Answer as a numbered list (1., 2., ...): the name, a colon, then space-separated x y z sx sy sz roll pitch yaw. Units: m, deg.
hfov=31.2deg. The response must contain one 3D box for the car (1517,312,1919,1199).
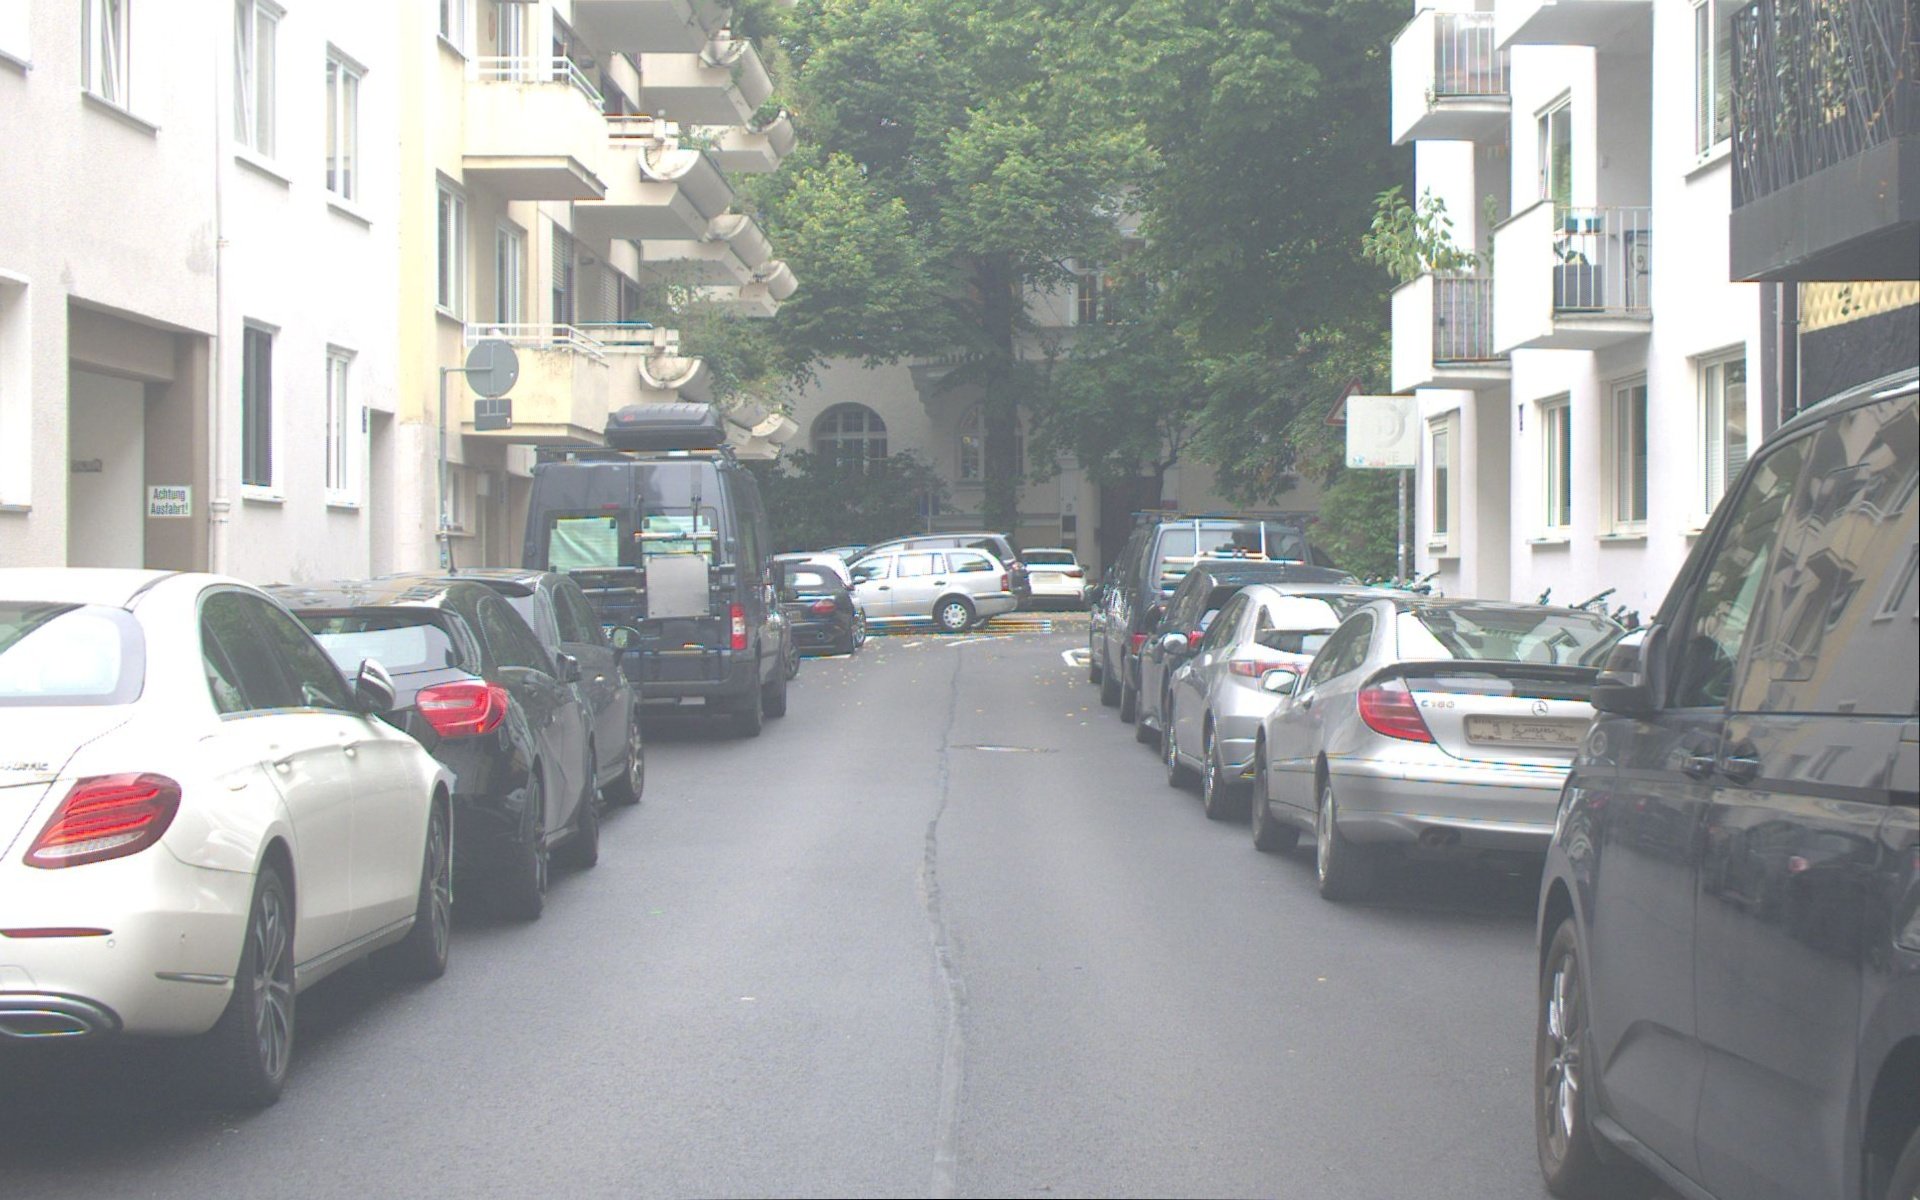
1. car: 2.344 0.523 6.410 1.829 1.903 4.416 2 1 0

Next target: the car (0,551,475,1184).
1. car: -2.730 0.633 10.438 1.777 1.482 4.519 -2 1 1

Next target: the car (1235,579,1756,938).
1. car: 2.535 0.685 17.339 1.829 1.449 4.416 3 1 0

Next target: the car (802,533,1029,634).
1. car: -0.786 -0.299 60.698 3.885 1.579 1.648 -3 1 -1

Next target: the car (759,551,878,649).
1. car: -2.138 -0.030 52.666 1.642 1.379 3.483 -3 1 0

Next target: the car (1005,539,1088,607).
1. car: 1.881 -0.609 75.546 1.642 1.379 3.746 -3 1 0

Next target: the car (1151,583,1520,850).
1. car: 2.344 0.679 22.548 1.829 1.449 4.416 3 1 0

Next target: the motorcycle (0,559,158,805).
1. motorcycle: -5.399 0.438 20.310 0.680 1.345 2.486 1 1 1

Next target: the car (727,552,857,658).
1. car: -2.354 0.040 48.820 1.642 1.379 3.483 -3 1 0

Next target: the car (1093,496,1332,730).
1. car: 2.347 0.087 32.966 1.829 1.992 4.416 3 1 0

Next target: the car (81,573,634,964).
1. car: -2.583 0.654 15.671 1.777 1.448 4.046 -3 1 0

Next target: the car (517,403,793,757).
1. car: -2.581 -0.192 30.162 1.936 2.792 4.533 -3 1 0

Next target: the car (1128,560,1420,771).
1. car: 2.424 0.459 27.562 1.829 1.449 4.416 3 1 0

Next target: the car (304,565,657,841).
1. car: -2.802 0.554 20.675 1.642 1.448 3.162 -3 1 0

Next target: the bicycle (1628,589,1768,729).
1. bicycle: 5.200 0.395 24.308 0.507 0.902 2.041 -1 1 -1

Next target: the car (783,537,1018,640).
1. car: -1.021 -0.206 58.721 3.885 1.579 1.648 -3 1 -1
